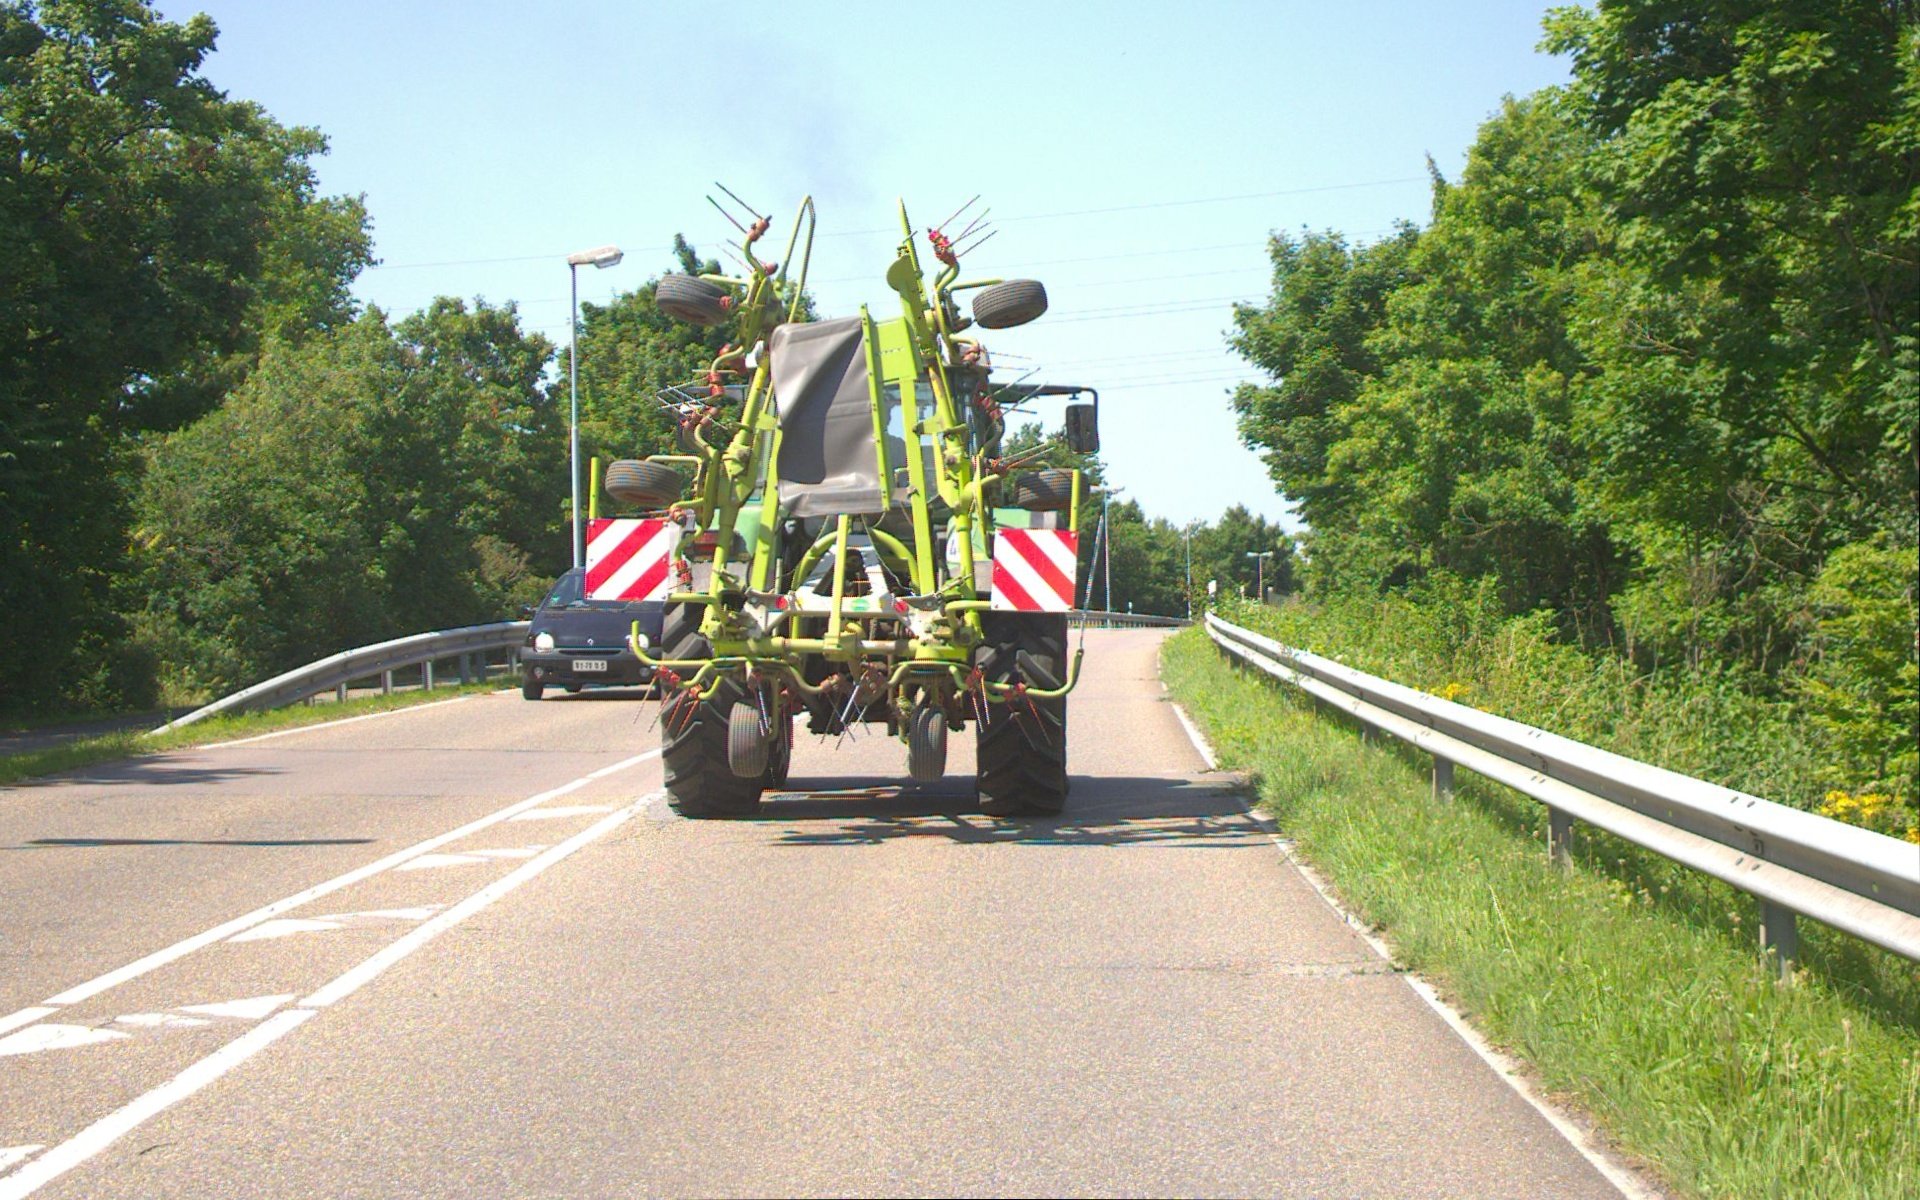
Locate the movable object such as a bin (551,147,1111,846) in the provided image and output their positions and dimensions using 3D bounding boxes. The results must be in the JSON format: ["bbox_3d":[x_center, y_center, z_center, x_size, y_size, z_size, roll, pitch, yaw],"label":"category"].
[{"bbox_3d":[-0.601,-0.536,19.734,2.755,3.432,5.670,0,1,1],"label":"movable object such as a bin"}]

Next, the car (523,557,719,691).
[{"bbox_3d":[-3.664,0.237,37.627,1.627,1.400,3.432,0,0,3],"label":"car"}]
